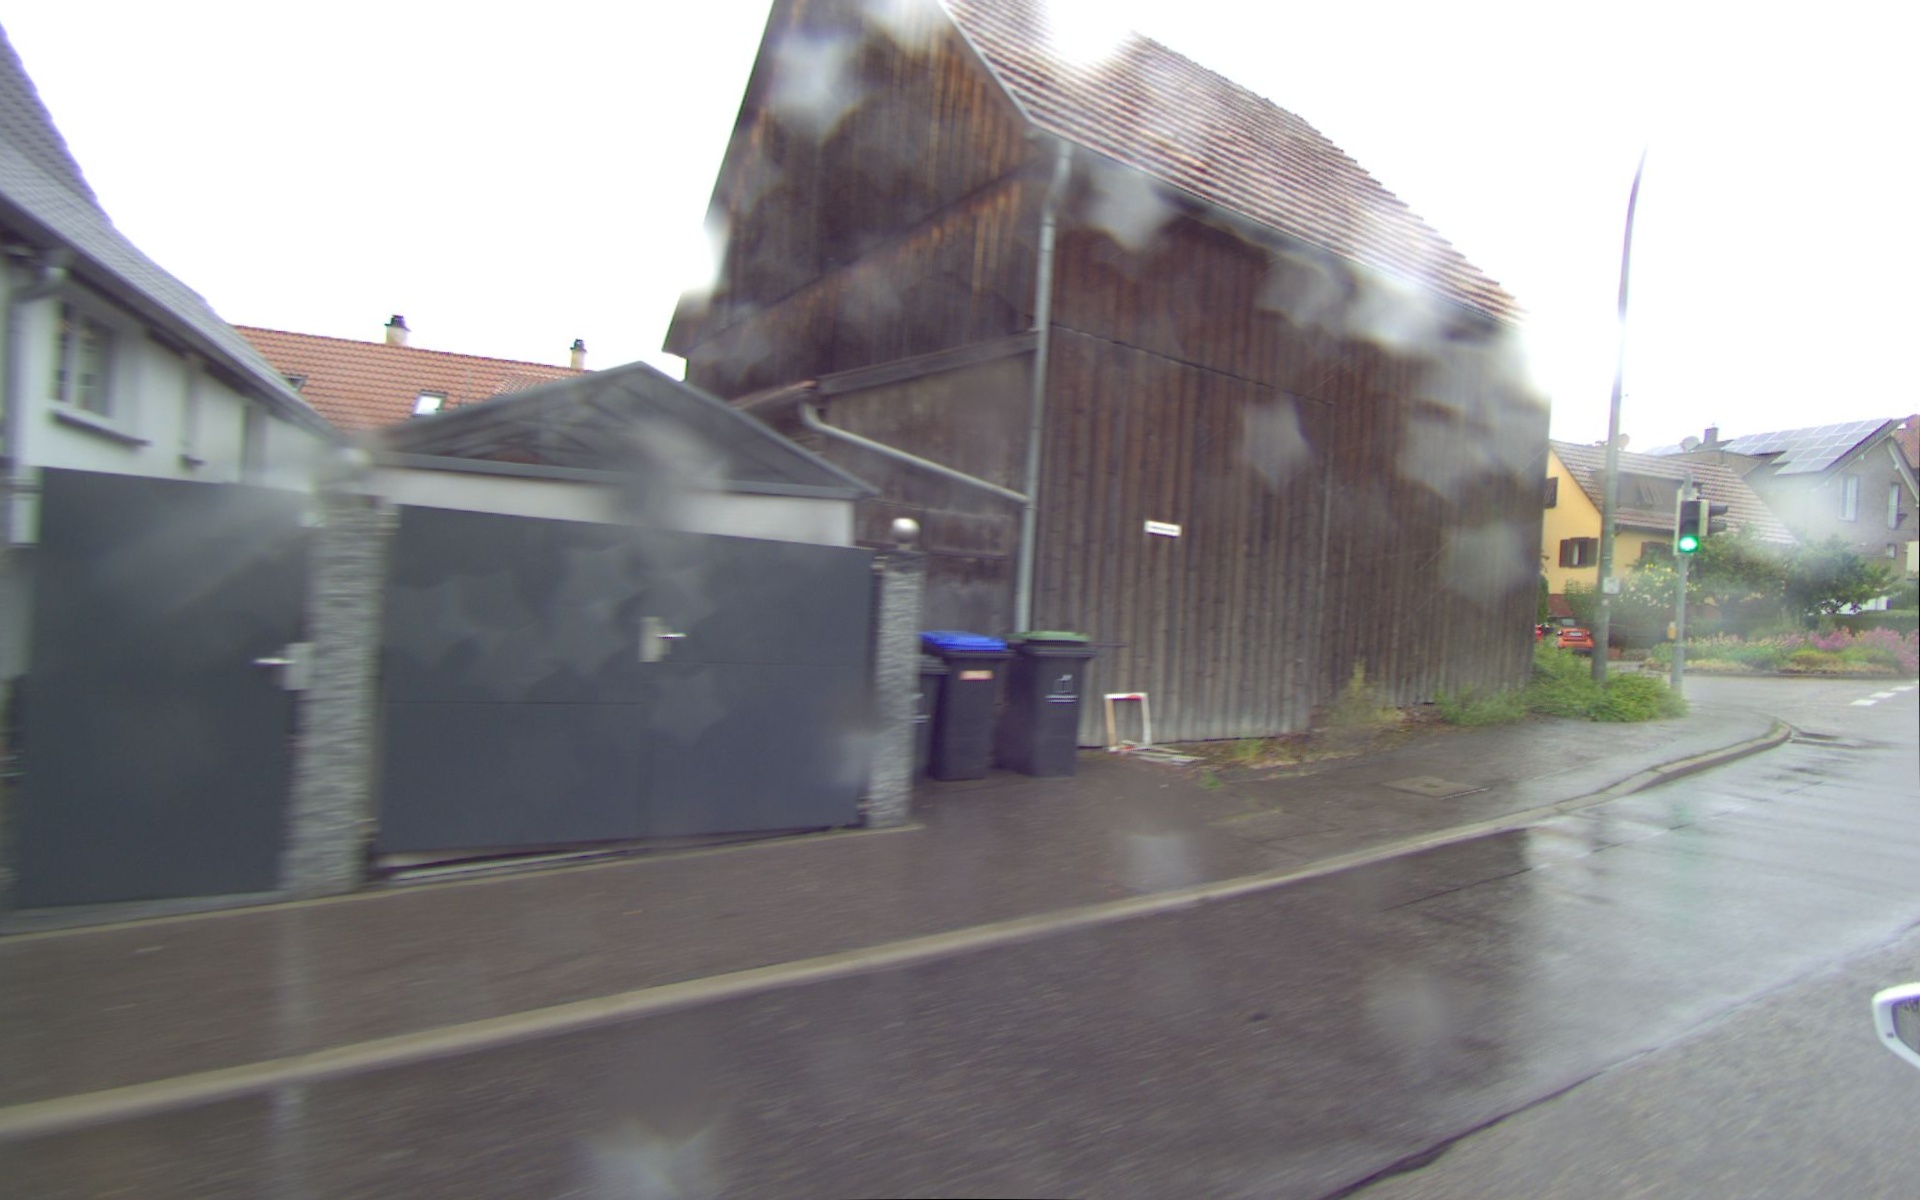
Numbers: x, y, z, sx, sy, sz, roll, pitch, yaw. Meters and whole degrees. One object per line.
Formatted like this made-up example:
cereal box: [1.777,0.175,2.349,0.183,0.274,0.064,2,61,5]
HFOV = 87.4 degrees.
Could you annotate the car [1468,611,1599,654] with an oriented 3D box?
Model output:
car: [20.909,1.162,36.826,1.834,1.402,3.984,1,1,-18]

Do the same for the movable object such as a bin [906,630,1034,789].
movable object such as a bin: [0.062,0.795,7.611,0.590,1.075,0.813,2,1,-31]

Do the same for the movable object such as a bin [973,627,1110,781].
movable object such as a bin: [0.637,0.796,8.026,0.644,1.092,0.892,2,2,-31]

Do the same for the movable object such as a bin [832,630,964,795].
movable object such as a bin: [-0.461,0.780,7.291,0.605,1.073,0.831,2,1,-31]

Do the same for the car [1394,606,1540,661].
car: [15.706,1.019,31.144,3.954,1.583,1.748,1,0,-17]
